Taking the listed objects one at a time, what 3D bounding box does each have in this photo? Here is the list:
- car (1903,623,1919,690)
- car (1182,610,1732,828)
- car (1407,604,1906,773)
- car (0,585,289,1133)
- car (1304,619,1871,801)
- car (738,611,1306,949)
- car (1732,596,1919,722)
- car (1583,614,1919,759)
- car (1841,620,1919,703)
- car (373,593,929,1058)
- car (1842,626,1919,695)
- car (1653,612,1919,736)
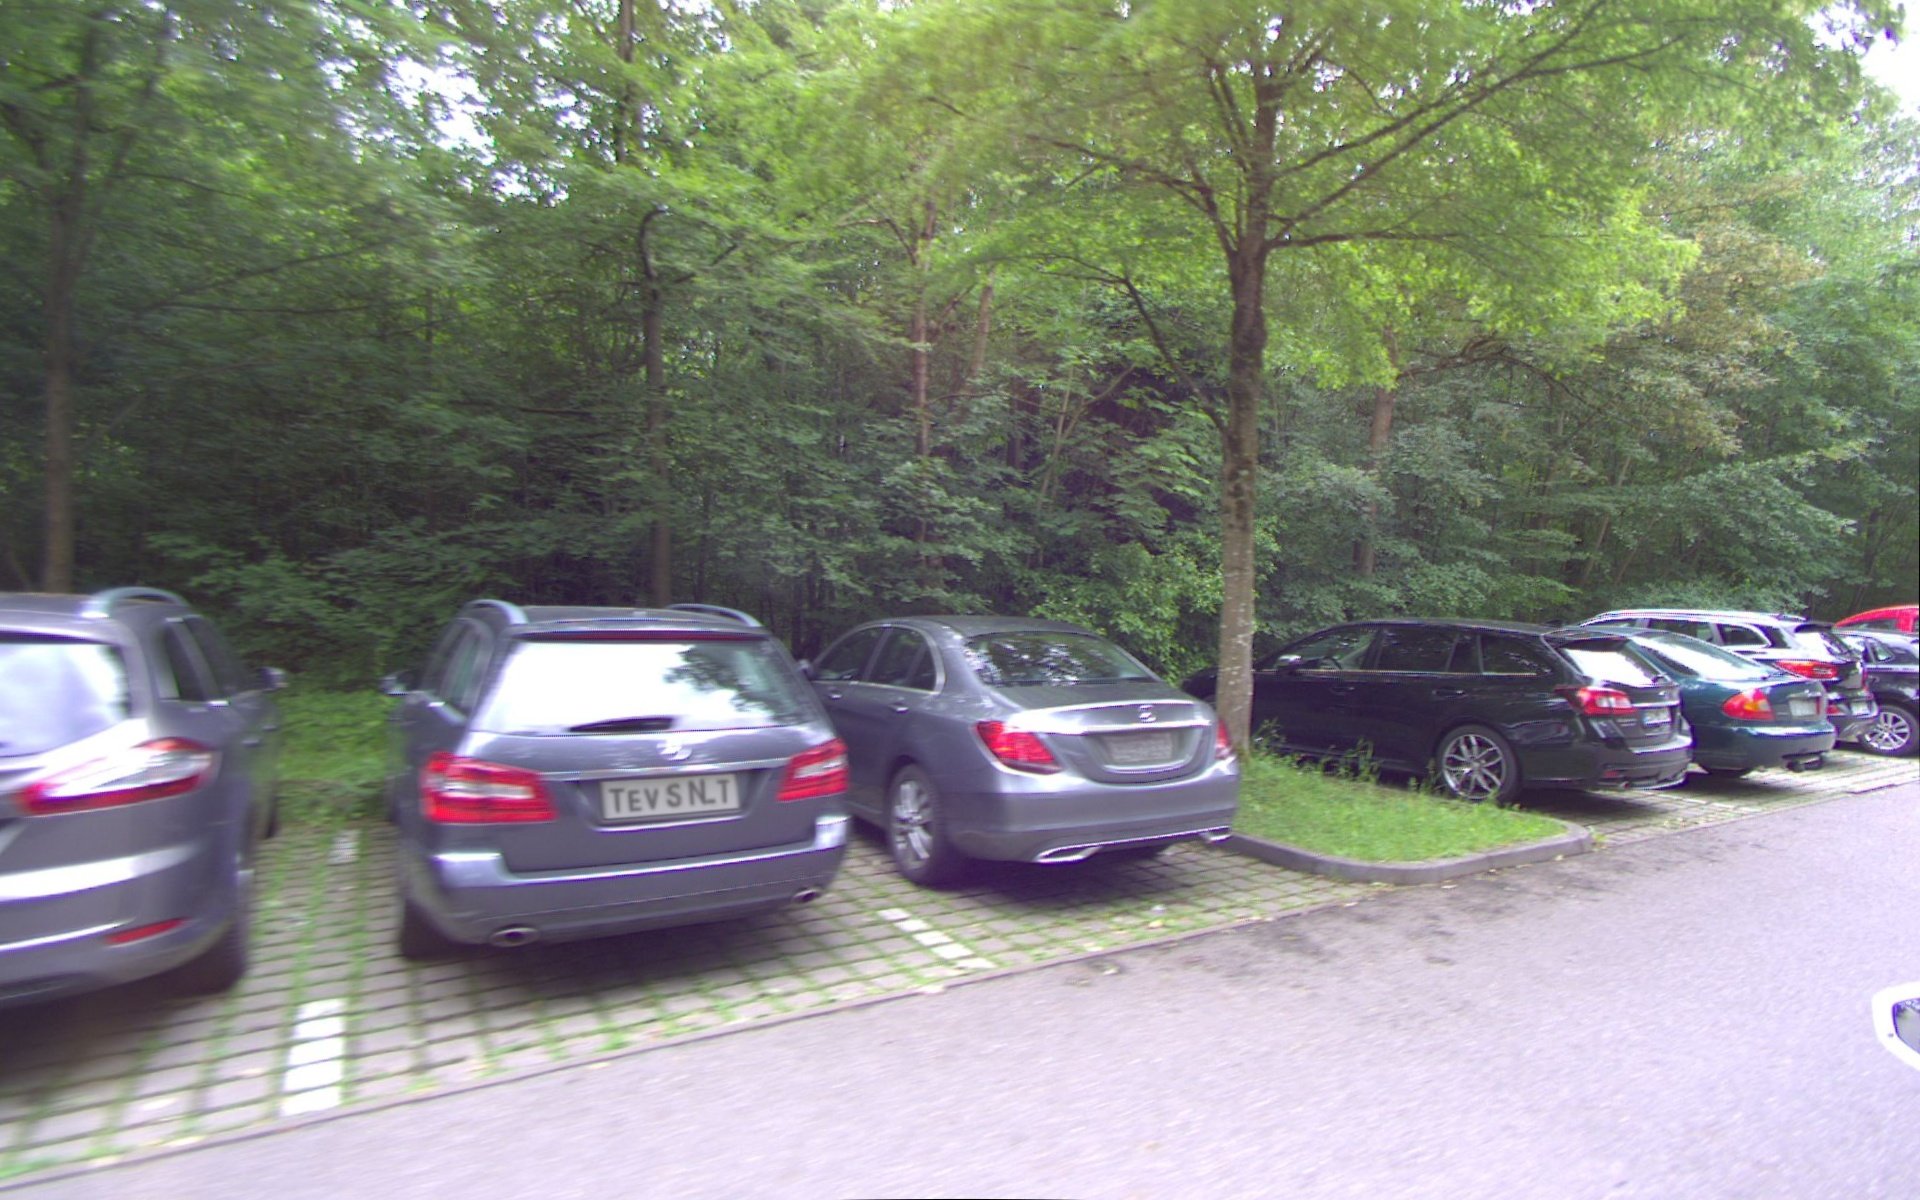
[{"bbox_3d":[22.953,1.286,21.291,1.825,1.494,3.968,1,0,-30],"label":"car"},{"bbox_3d":[4.279,0.869,9.321,1.740,1.468,4.266,1,0,-35],"label":"car"},{"bbox_3d":[8.234,0.900,12.408,1.938,1.616,4.706,1,0,-32],"label":"car"},{"bbox_3d":[-4.095,0.712,4.332,1.909,1.544,4.065,1,0,-33],"label":"car"},{"bbox_3d":[6.198,0.938,10.591,1.965,1.361,4.706,1,0,-32],"label":"car"},{"bbox_3d":[0.047,0.841,6.764,1.940,1.450,4.092,1,0,-29],"label":"car"},{"bbox_3d":[14.842,0.890,15.693,2.093,1.841,3.963,1,0,-33],"label":"car"},{"bbox_3d":[10.679,1.002,13.034,1.980,1.550,3.961,1,0,-35],"label":"car"},{"bbox_3d":[18.914,1.168,18.219,2.090,1.494,3.967,1,0,-30],"label":"car"},{"bbox_3d":[-2.035,0.732,5.513,1.974,1.500,4.088,1,0,-31],"label":"car"},{"bbox_3d":[20.789,1.273,20.546,1.913,1.387,3.729,1,0,-30],"label":"car"},{"bbox_3d":[12.650,0.984,14.455,1.977,1.550,3.966,1,0,-31],"label":"car"}]
